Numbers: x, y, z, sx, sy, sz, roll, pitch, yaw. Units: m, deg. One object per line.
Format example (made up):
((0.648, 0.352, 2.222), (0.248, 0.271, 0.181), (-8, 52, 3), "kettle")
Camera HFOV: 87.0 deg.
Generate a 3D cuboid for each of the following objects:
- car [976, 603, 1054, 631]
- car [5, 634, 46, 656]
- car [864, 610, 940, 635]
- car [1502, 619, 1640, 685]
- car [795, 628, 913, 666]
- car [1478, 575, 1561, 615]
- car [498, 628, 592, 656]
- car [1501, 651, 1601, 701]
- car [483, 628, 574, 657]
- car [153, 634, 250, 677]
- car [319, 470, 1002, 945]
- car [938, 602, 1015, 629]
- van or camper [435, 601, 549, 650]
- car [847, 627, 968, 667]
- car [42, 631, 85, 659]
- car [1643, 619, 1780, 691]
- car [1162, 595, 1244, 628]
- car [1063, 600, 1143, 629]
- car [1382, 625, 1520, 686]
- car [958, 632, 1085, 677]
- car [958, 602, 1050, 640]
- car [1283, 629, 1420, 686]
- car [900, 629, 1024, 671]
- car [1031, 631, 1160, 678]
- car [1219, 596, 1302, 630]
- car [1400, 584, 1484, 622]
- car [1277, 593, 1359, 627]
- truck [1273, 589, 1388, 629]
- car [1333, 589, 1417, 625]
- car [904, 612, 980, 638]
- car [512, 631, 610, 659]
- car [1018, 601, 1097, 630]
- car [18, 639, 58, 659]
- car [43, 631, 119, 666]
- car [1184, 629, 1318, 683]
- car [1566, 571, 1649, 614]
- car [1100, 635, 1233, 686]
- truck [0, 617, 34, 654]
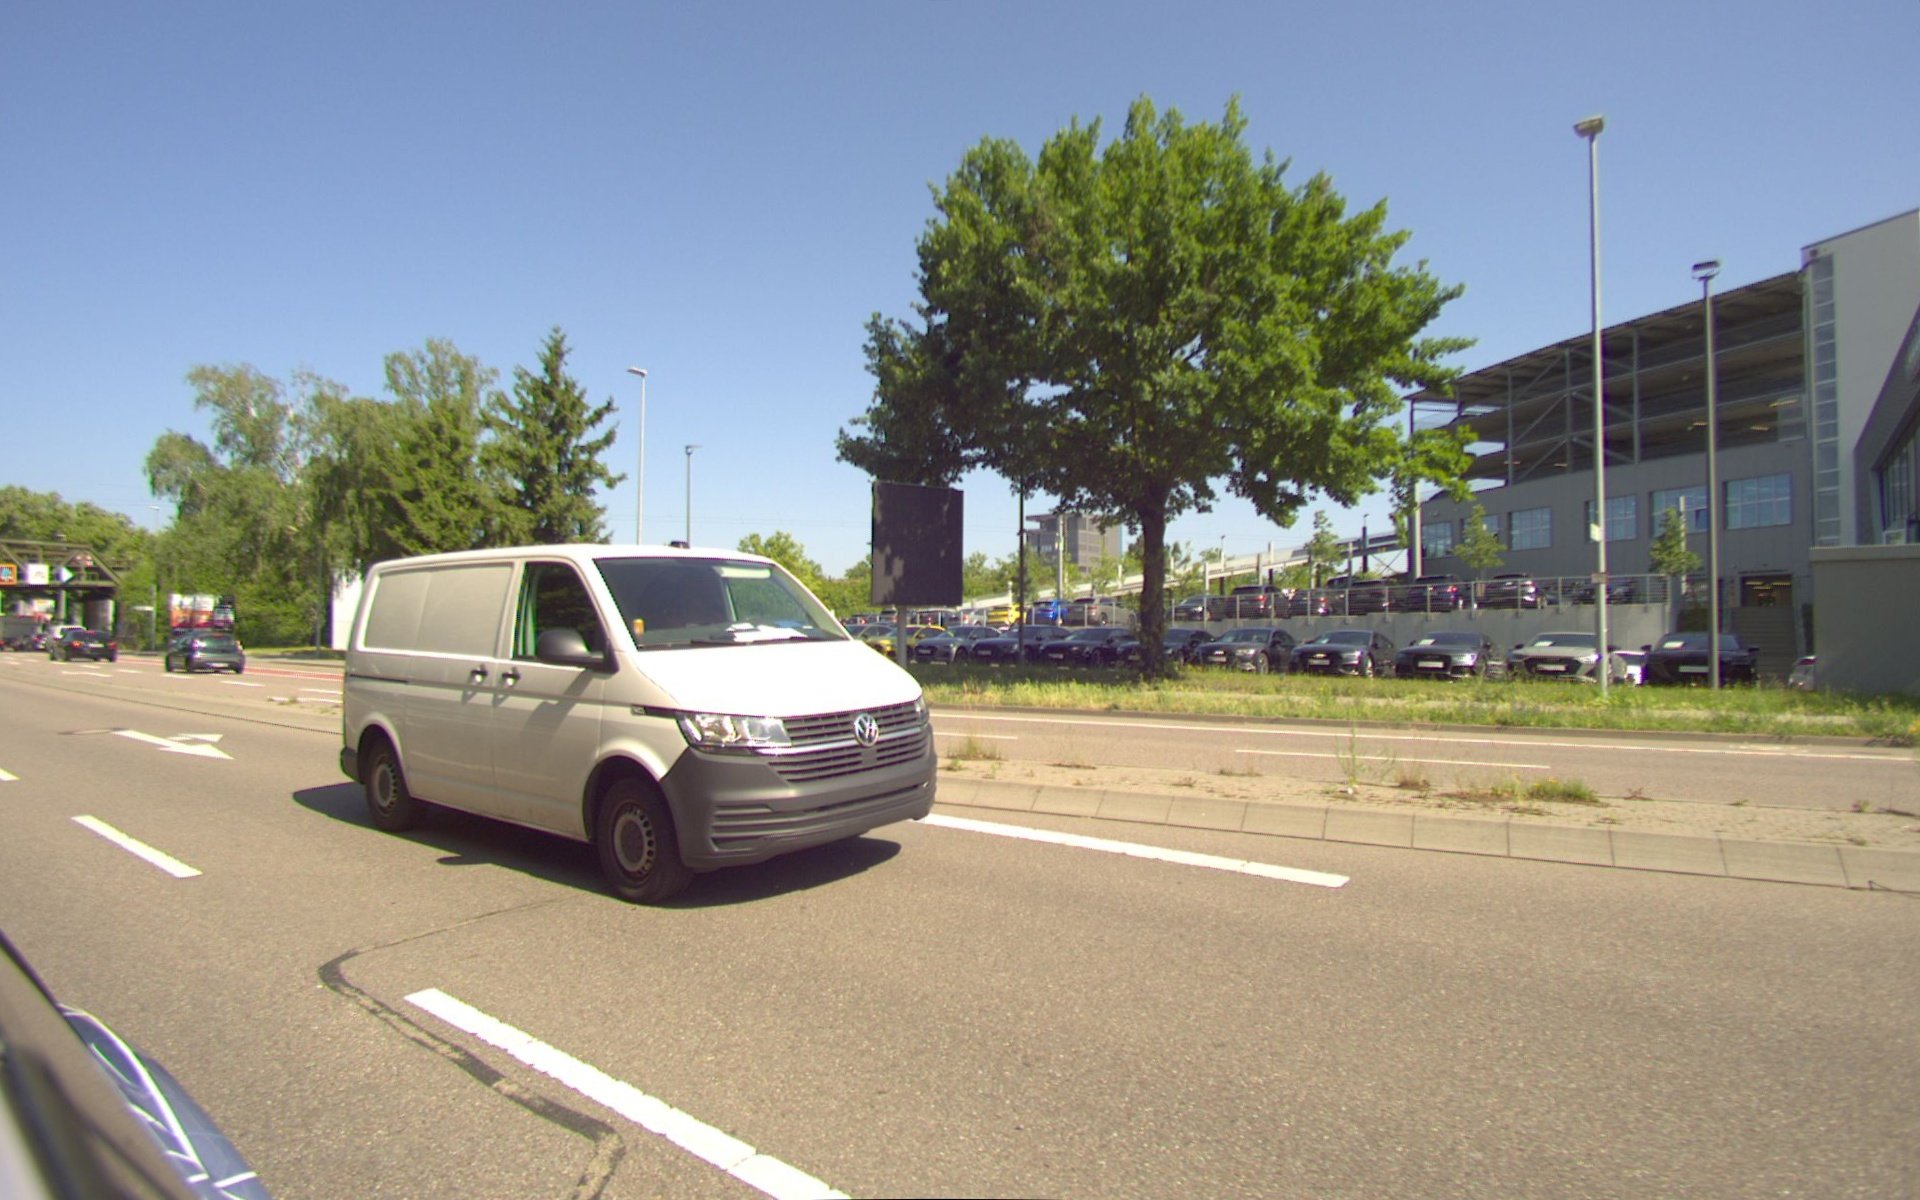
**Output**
((2.916, 0.924, 53.031), (1.952, 1.361, 4.222), (-2, -3, 40), "car")
((-78.187, 3.808, 84.685), (4.284, 1.703, 1.964), (-4, -5, 40), "car")
((-3.258, 1.299, 57.600), (1.952, 1.361, 4.222), (-2, -3, 40), "car")
((13.995, 1.151, 23.078), (1.953, 1.361, 4.220), (-2, -3, 42), "car")
((-3.926, 1.734, 38.057), (1.953, 1.361, 4.220), (-2, -3, 42), "car")
((21.224, -0.145, 38.317), (1.952, 1.361, 4.222), (-2, -3, 40), "car")
((-20.950, 2.113, 51.189), (1.745, 1.364, 4.040), (-1, -2, 45), "car")
((18.434, 2.306, 31.487), (1.952, 1.361, 4.222), (-2, -3, 40), "car")
((-22.410, 2.181, 52.658), (1.744, 1.450, 4.040), (-2, -3, 45), "car")
((-26.479, 1.933, 35.285), (3.996, 1.425, 1.765), (-2, -5, 40), "car")
((-2.251, 0.541, 6.619), (4.970, 2.009, 1.862), (-2, -3, 40), "car")
((0.918, 0.884, 54.355), (1.952, 1.361, 4.222), (-2, -3, 40), "car")
((-25.615, 1.375, 55.599), (1.997, 2.489, 5.328), (-3, -1, 37), "van or camper")
((-1.841, 1.659, 36.480), (1.953, 1.361, 4.220), (-2, -3, 42), "car")
((-66.799, 3.351, 75.383), (5.348, 2.029, 1.971), (-2, -4, 44), "car")
((16.035, 1.121, 21.522), (1.953, 1.361, 4.220), (-2, -3, 42), "car")
((11.127, 0.558, 46.126), (1.952, 1.361, 4.222), (-2, -3, 40), "car")
((7.030, 0.750, 49.618), (1.952, 1.361, 4.222), (-2, -3, 40), "car")
((12.072, 1.311, 24.736), (1.953, 1.361, 4.220), (-2, -3, 42), "car")
((2.060, 1.726, 32.957), (1.953, 1.361, 4.220), (-2, -3, 42), "car")
((2.048, 0.995, 46.244), (1.953, 1.655, 4.220), (-2, -3, 42), "car")
((10.225, 1.440, 26.252), (1.953, 1.361, 4.220), (-2, -3, 42), "car")
((0.123, 1.679, 34.861), (1.953, 1.361, 4.220), (-2, -3, 42), "car")
((4.250, 1.652, 31.410), (1.953, 1.361, 4.220), (-2, -3, 42), "car")
((13.182, 0.603, 44.304), (1.952, 1.361, 4.222), (-2, -3, 40), "car")
((18.885, 0.160, 39.580), (1.952, 1.361, 4.222), (-2, -3, 40), "car")
((15.394, 0.479, 43.383), (1.952, 1.361, 4.222), (-2, -3, 40), "car")
((28.823, 0.746, 78.865), (8.320, 2.939, 2.673), (1, -2, -14), "truck")
((16.933, 0.328, 41.184), (1.952, 1.361, 4.222), (-2, -3, 40), "car")
((-0.959, 1.411, 56.037), (1.952, 1.361, 4.222), (-2, -3, 40), "car")
((-19.266, 2.147, 48.990), (1.743, 1.303, 4.043), (-2, -3, 42), "car")
((4.987, 0.811, 51.491), (1.952, 1.361, 4.222), (-2, -3, 40), "car")
((-72.733, 3.864, 79.833), (4.174, 1.506, 1.750), (-4, -5, 40), "car")
((-40.359, 2.216, 46.424), (4.996, 1.474, 1.822), (-2, -5, 40), "car")
((8.130, 1.508, 28.078), (1.953, 1.361, 4.220), (-2, -3, 42), "car")
((23.396, -0.210, 36.521), (1.952, 1.361, 4.222), (-2, -3, 40), "car")
((6.083, 1.710, 29.567), (1.953, 1.361, 4.220), (-2, -3, 42), "car")
((-83.590, 3.140, 88.646), (7.057, 3.112, 2.319), (-2, -3, 37), "truck")
